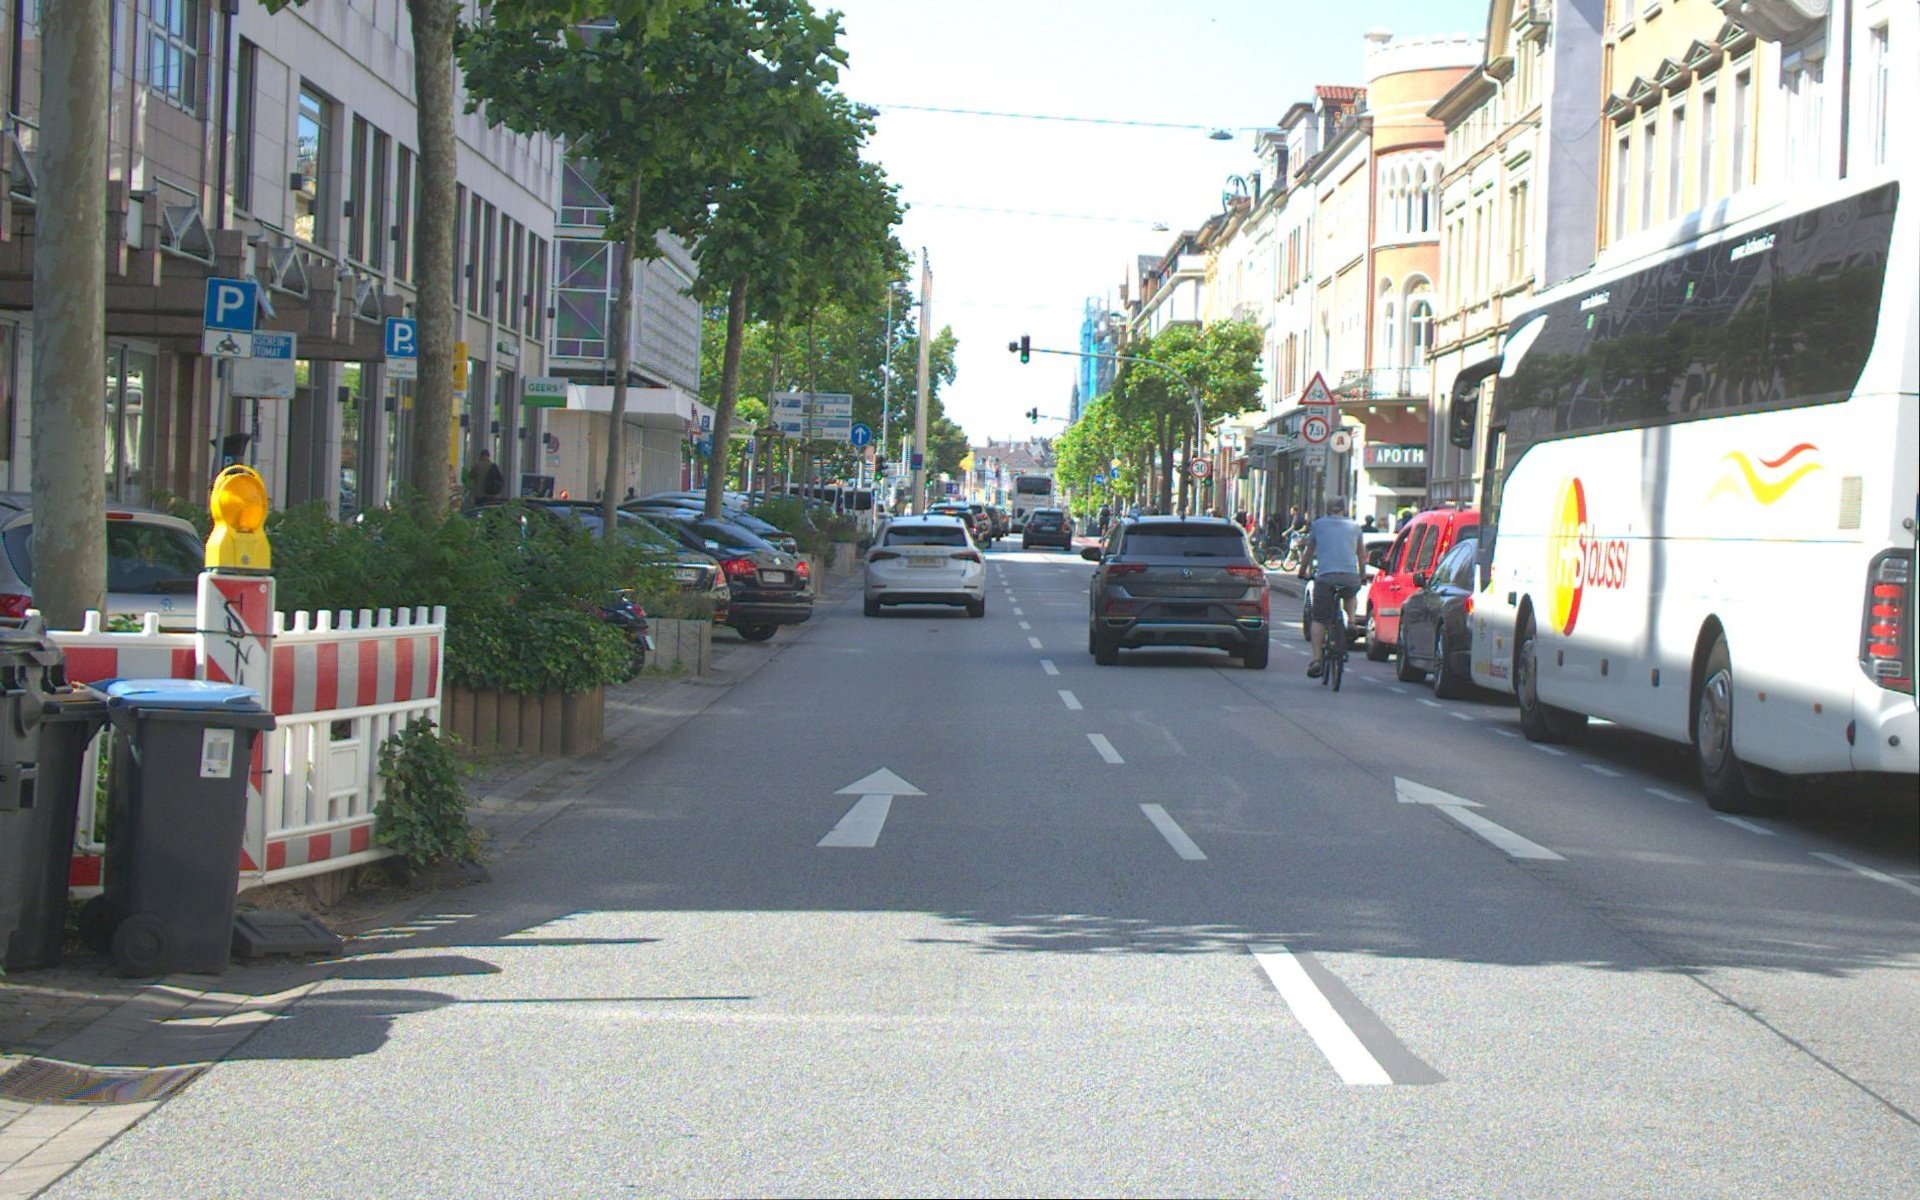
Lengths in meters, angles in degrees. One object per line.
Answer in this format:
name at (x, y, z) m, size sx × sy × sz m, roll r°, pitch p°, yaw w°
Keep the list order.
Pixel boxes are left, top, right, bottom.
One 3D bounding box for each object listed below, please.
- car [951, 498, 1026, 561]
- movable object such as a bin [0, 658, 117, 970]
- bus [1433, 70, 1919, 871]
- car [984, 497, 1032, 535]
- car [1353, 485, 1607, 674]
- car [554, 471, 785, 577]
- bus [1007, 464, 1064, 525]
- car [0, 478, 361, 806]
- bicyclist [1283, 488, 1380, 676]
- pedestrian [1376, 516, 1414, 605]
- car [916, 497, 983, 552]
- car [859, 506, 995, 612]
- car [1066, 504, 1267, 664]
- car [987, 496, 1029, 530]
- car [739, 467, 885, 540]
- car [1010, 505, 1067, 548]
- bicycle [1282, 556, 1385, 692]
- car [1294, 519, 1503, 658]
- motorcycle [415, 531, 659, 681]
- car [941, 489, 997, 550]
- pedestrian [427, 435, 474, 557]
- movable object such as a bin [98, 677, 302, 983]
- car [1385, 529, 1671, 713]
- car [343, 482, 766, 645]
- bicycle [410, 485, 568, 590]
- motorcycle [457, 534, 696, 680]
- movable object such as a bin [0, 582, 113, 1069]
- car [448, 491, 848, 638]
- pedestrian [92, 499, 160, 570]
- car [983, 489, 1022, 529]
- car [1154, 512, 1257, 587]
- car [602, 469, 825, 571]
car at (0.669, -1.728, 83.635) m, size 1.743 × 1.436 × 4.000 m, roll 1°, pitch 2°, yaw 0°
movable object such as a bin at (-3.075, 0.671, 11.044) m, size 0.499 × 0.936 × 0.555 m, roll 1°, pitch 2°, yaw 17°
bus at (5.570, -0.697, 22.319) m, size 2.881 × 3.729 × 12.428 m, roll 4°, pitch 2°, yaw -1°
car at (1.925, -3.392, 139.574) m, size 1.863 × 1.436 × 4.000 m, roll 1°, pitch 0°, yaw 0°
car at (5.708, -0.282, 38.255) m, size 1.827 × 1.857 × 4.355 m, roll 3°, pitch 2°, yaw -3°
car at (-5.234, -1.385, 62.308) m, size 3.986 × 1.495 × 1.718 m, roll 6°, pitch 1°, yaw -4°
bus at (4.613, -6.536, 212.112) m, size 2.770 × 3.592 × 8.975 m, roll 1°, pitch 2°, yaw -3°
car at (-5.282, 0.116, 18.423) m, size 4.055 × 1.489 × 1.931 m, roll 5°, pitch 3°, yaw 41°
bicyclist at (3.443, -0.179, 31.930) m, size 0.694 × 1.667 × 0.916 m, roll 4°, pitch 3°, yaw 1°
pedestrian at (8.968, -0.824, 70.880) m, size 0.652 × 1.803 × 0.729 m, roll 3°, pitch 1°, yaw 4°
car at (-0.292, -2.085, 94.286) m, size 1.743 × 1.436 × 4.000 m, roll 1°, pitch 2°, yaw 0°
car at (-0.525, -0.630, 50.712) m, size 1.863 × 1.436 × 4.001 m, roll 2°, pitch 1°, yaw -2°
car at (2.121, -0.203, 36.274) m, size 1.833 × 1.522 × 4.000 m, roll 2°, pitch 1°, yaw 0°
car at (2.205, -3.990, 158.642) m, size 1.863 × 1.436 × 4.000 m, roll 1°, pitch 0°, yaw 0°
car at (-5.000, -3.262, 115.872) m, size 4.721 × 1.996 × 1.937 m, roll 7°, pitch 2°, yaw 40°
car at (2.754, -2.603, 121.784) m, size 1.863 × 1.436 × 4.000 m, roll 1°, pitch 2°, yaw 0°
bicycle at (3.448, 0.199, 31.915) m, size 0.664 × 1.116 × 2.243 m, roll 4°, pitch 2°, yaw 0°
car at (5.504, -0.195, 43.721) m, size 1.813 × 1.461 × 4.581 m, roll 3°, pitch 3°, yaw -2°
motorcycle at (-3.623, 0.038, 29.430) m, size 1.912 × 1.166 × 0.728 m, roll 3°, pitch 2°, yaw 21°
car at (0.287, -2.840, 121.950) m, size 1.863 × 2.023 × 4.000 m, roll 2°, pitch 0°, yaw -1°
pedestrian at (-7.050, -1.441, 47.580) m, size 0.565 × 1.651 × 0.637 m, roll 1°, pitch 2°, yaw -4°
movable object such as a bin at (-2.497, 0.741, 11.286) m, size 0.553 × 0.936 × 0.501 m, roll -1°, pitch 2°, yaw -25°
car at (5.300, 0.129, 32.729) m, size 1.859 × 1.464 × 5.226 m, roll 3°, pitch 2°, yaw 1°
car at (-4.536, -0.427, 37.990) m, size 4.754 × 1.528 × 1.985 m, roll 5°, pitch 3°, yaw 43°
bicycle at (-6.485, -0.860, 47.397) m, size 2.064 × 1.284 × 0.368 m, roll 4°, pitch 1°, yaw -7°
motorcycle at (-3.361, 0.044, 30.133) m, size 1.912 × 1.166 × 0.759 m, roll 3°, pitch 2°, yaw 21°
movable object such as a bin at (-3.168, 0.592, 9.758) m, size 1.277 × 1.295 × 0.853 m, roll 2°, pitch 1°, yaw 0°
car at (-3.769, -0.441, 40.960) m, size 4.793 × 1.417 × 1.879 m, roll 5°, pitch 3°, yaw 40°
pedestrian at (-10.279, -0.813, 42.385) m, size 0.566 × 0.806 × 0.774 m, roll 7°, pitch 2°, yaw 0°
car at (2.136, -4.604, 174.315) m, size 1.863 × 1.843 × 4.000 m, roll 1°, pitch 0°, yaw 0°
car at (5.115, -1.041, 72.066) m, size 1.833 × 1.522 × 4.000 m, roll 0°, pitch 0°, yaw 0°
car at (-4.923, -1.594, 68.695) m, size 3.993 × 1.563 × 1.697 m, roll 7°, pitch 2°, yaw 25°
